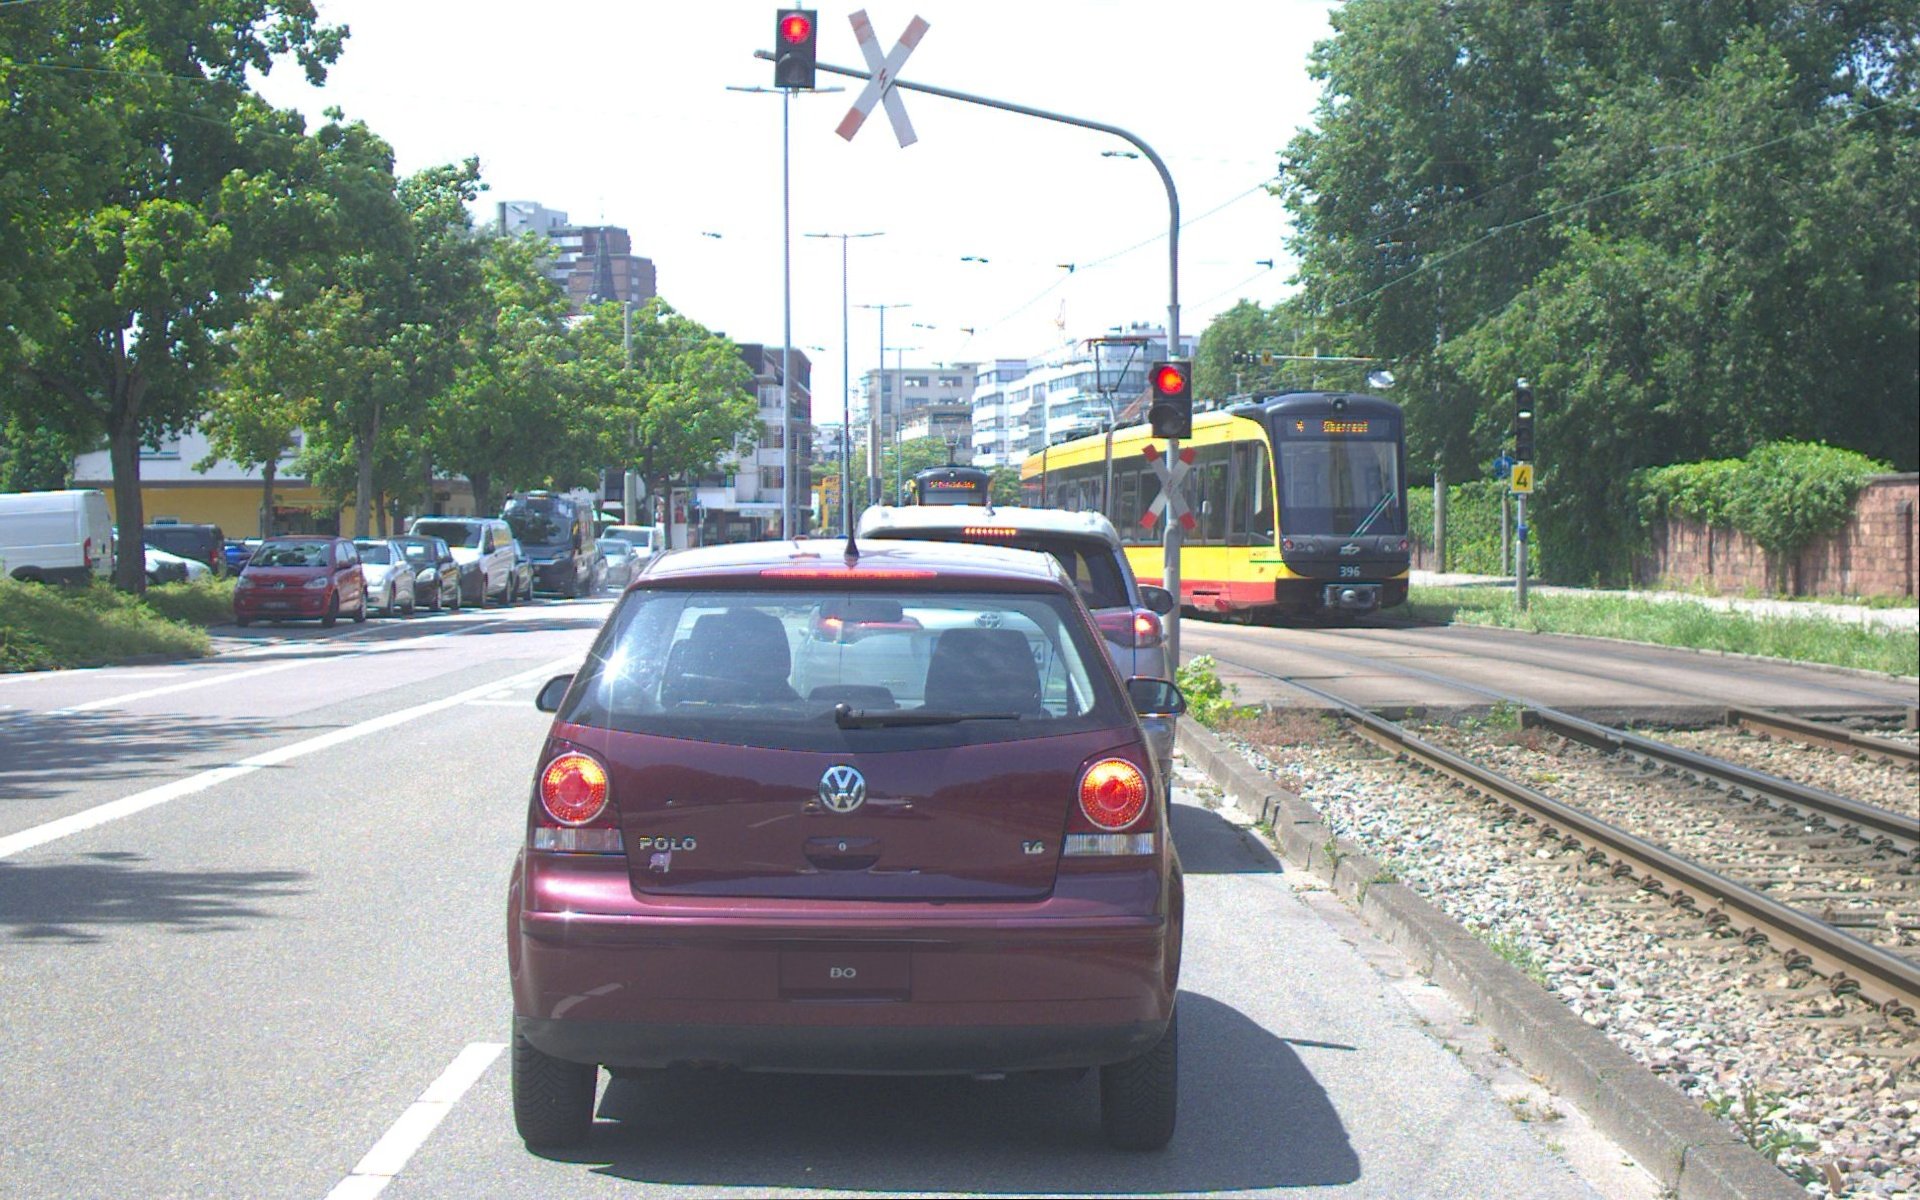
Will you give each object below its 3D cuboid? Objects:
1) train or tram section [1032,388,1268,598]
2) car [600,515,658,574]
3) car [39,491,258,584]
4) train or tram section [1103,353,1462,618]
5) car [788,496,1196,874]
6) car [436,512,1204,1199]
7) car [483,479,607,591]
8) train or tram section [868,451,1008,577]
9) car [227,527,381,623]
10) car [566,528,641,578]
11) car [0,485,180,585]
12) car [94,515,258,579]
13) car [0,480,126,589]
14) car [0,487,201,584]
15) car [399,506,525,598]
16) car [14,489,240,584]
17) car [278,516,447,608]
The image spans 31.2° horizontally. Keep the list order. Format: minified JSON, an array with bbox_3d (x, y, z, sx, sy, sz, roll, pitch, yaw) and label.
[{"bbox_3d":[3.587,-2.105,68.786,3.028,3.785,13.092,0,1,-4],"label":"train or tram section"},{"bbox_3d":[-10.610,-1.768,110.199,1.774,1.822,4.001,2,1,-6],"label":"car"},{"bbox_3d":[-21.214,-1.627,89.998,5.097,2.237,2.378,2,0,1],"label":"car"},{"bbox_3d":[4.911,-1.809,55.803,3.027,3.785,13.093,0,1,-7],"label":"train or tram section"},{"bbox_3d":[0.101,0.329,17.317,1.777,1.641,4.001,1,1,-1],"label":"car"},{"bbox_3d":[-0.352,0.534,9.656,1.672,1.516,4.000,1,1,-1],"label":"car"},{"bbox_3d":[-10.444,-1.618,86.913,2.361,2.683,5.307,2,0,1],"label":"car"},{"bbox_3d":[-0.800,-2.702,107.226,2.740,3.597,12.873,2,1,-7],"label":"train or tram section"},{"bbox_3d":[-10.846,-0.421,57.095,1.663,1.491,4.000,2,1,1],"label":"car"},{"bbox_3d":[-10.785,-1.406,104.233,1.614,1.436,4.000,2,1,3],"label":"car"},{"bbox_3d":[-21.406,-1.555,81.785,5.097,2.237,2.378,2,0,1],"label":"car"},{"bbox_3d":[-21.520,-1.460,94.450,4.020,1.611,1.816,2,0,1],"label":"car"},{"bbox_3d":[-20.794,-1.435,73.840,5.097,2.237,2.378,2,0,1],"label":"car"},{"bbox_3d":[-21.602,-1.592,84.976,5.097,2.237,2.378,2,0,1],"label":"car"},{"bbox_3d":[-10.661,-1.017,73.877,1.783,1.875,4.785,2,1,2],"label":"car"},{"bbox_3d":[-21.156,-1.601,87.444,5.097,2.237,2.378,2,0,1],"label":"car"},{"bbox_3d":[-11.009,-0.694,63.642,1.976,1.595,4.557,2,1,4],"label":"car"}]
